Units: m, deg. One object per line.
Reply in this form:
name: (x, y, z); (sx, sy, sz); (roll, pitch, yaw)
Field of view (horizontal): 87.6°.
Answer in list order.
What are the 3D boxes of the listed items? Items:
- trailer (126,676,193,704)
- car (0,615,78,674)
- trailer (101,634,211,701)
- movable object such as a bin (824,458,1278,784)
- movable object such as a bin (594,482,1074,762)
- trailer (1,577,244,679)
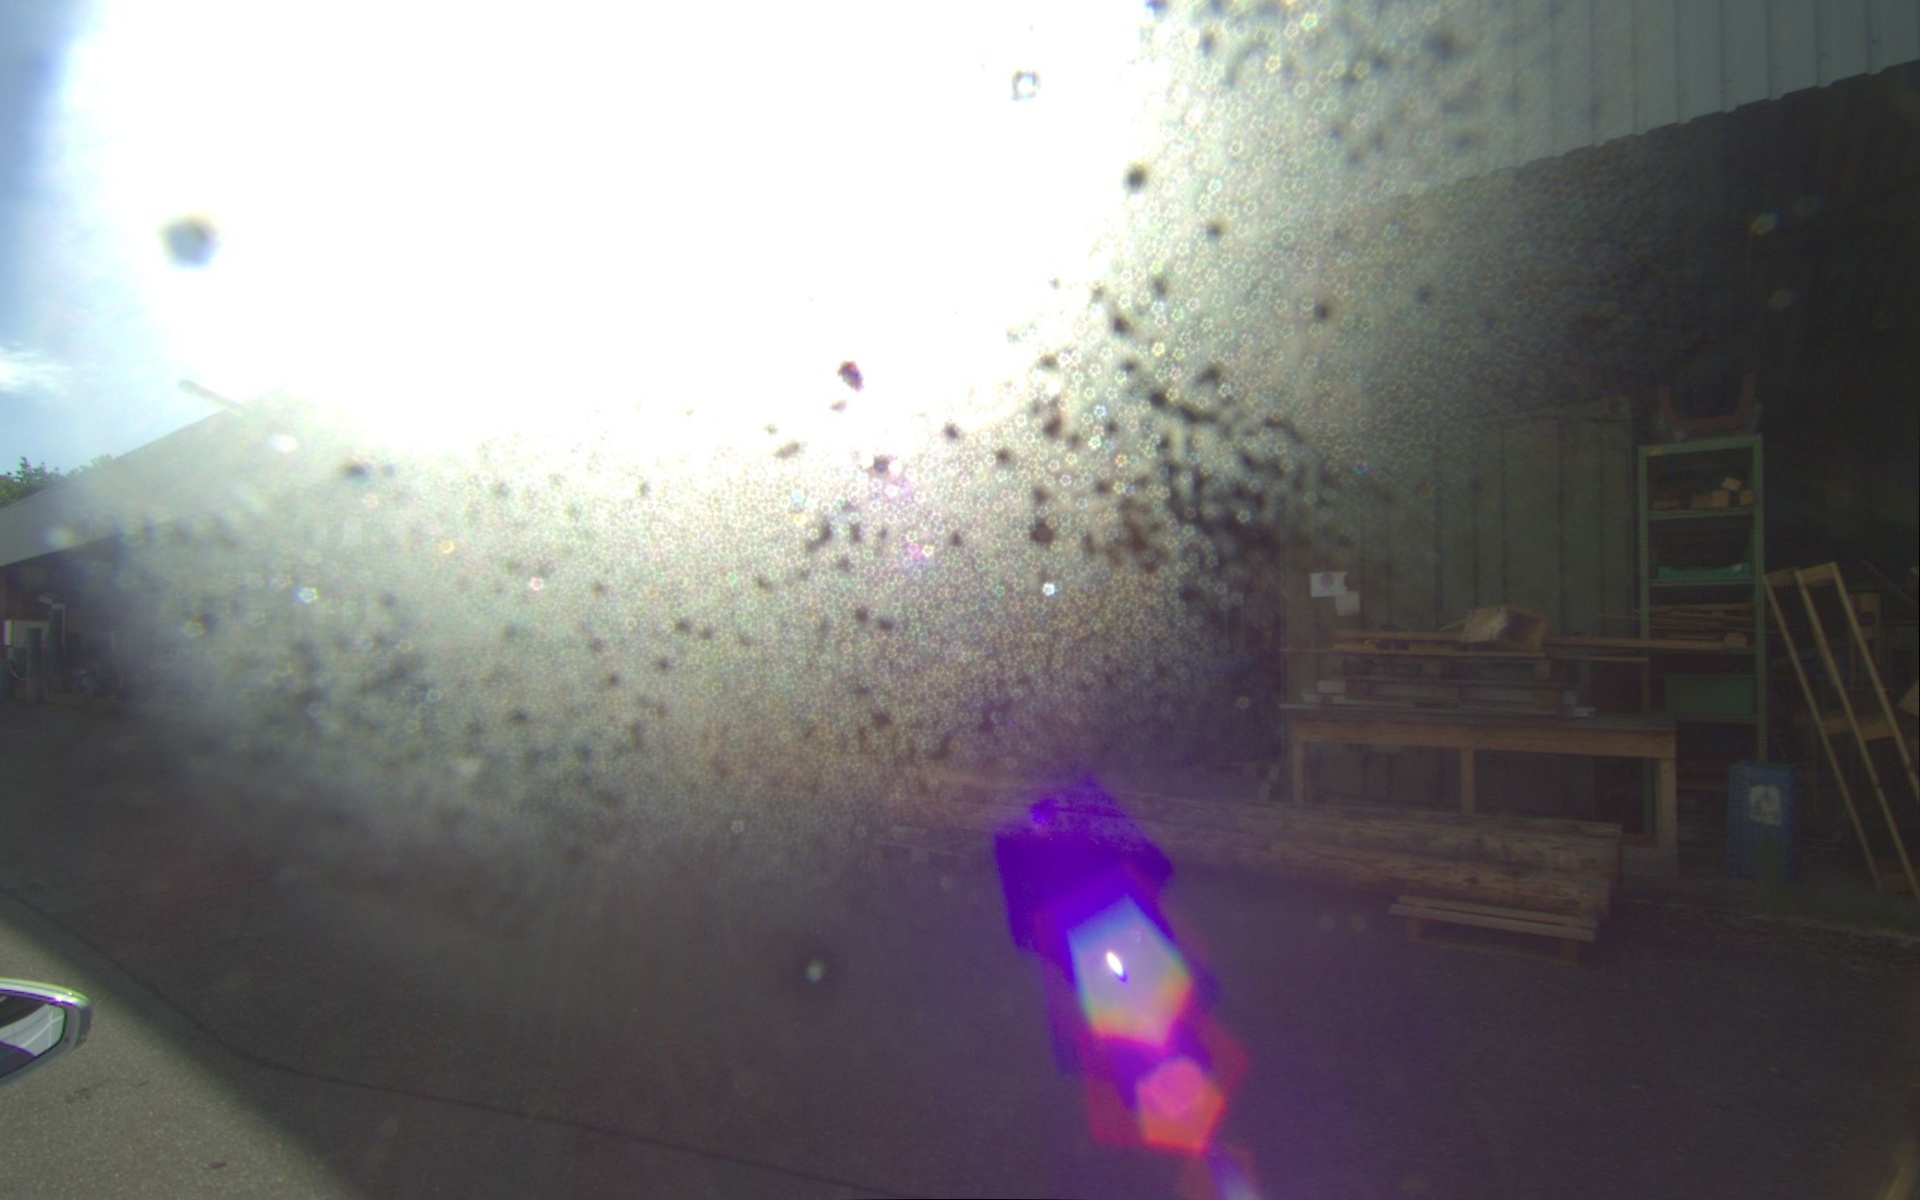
trailer: (-17.812, 2.008, 22.290); (0.722, 0.574, 0.969); (1, -4, 33)
car: (-40.000, 1.886, 42.543); (1.975, 2.472, 3.493); (-1, -2, 38)
trailer: (-19.904, 1.680, 24.807); (1.886, 1.537, 1.543); (1, -4, 33)
movable object such as a bin: (1.500, 0.315, 12.369); (2.652, 2.942, 6.333); (-1, -2, 37)
movable object such as a bin: (-1.315, 0.364, 14.120); (2.652, 2.942, 6.912); (-1, -2, 37)
trailer: (-30.567, 1.061, 36.791); (2.789, 3.413, 6.369); (-1, -2, 36)
